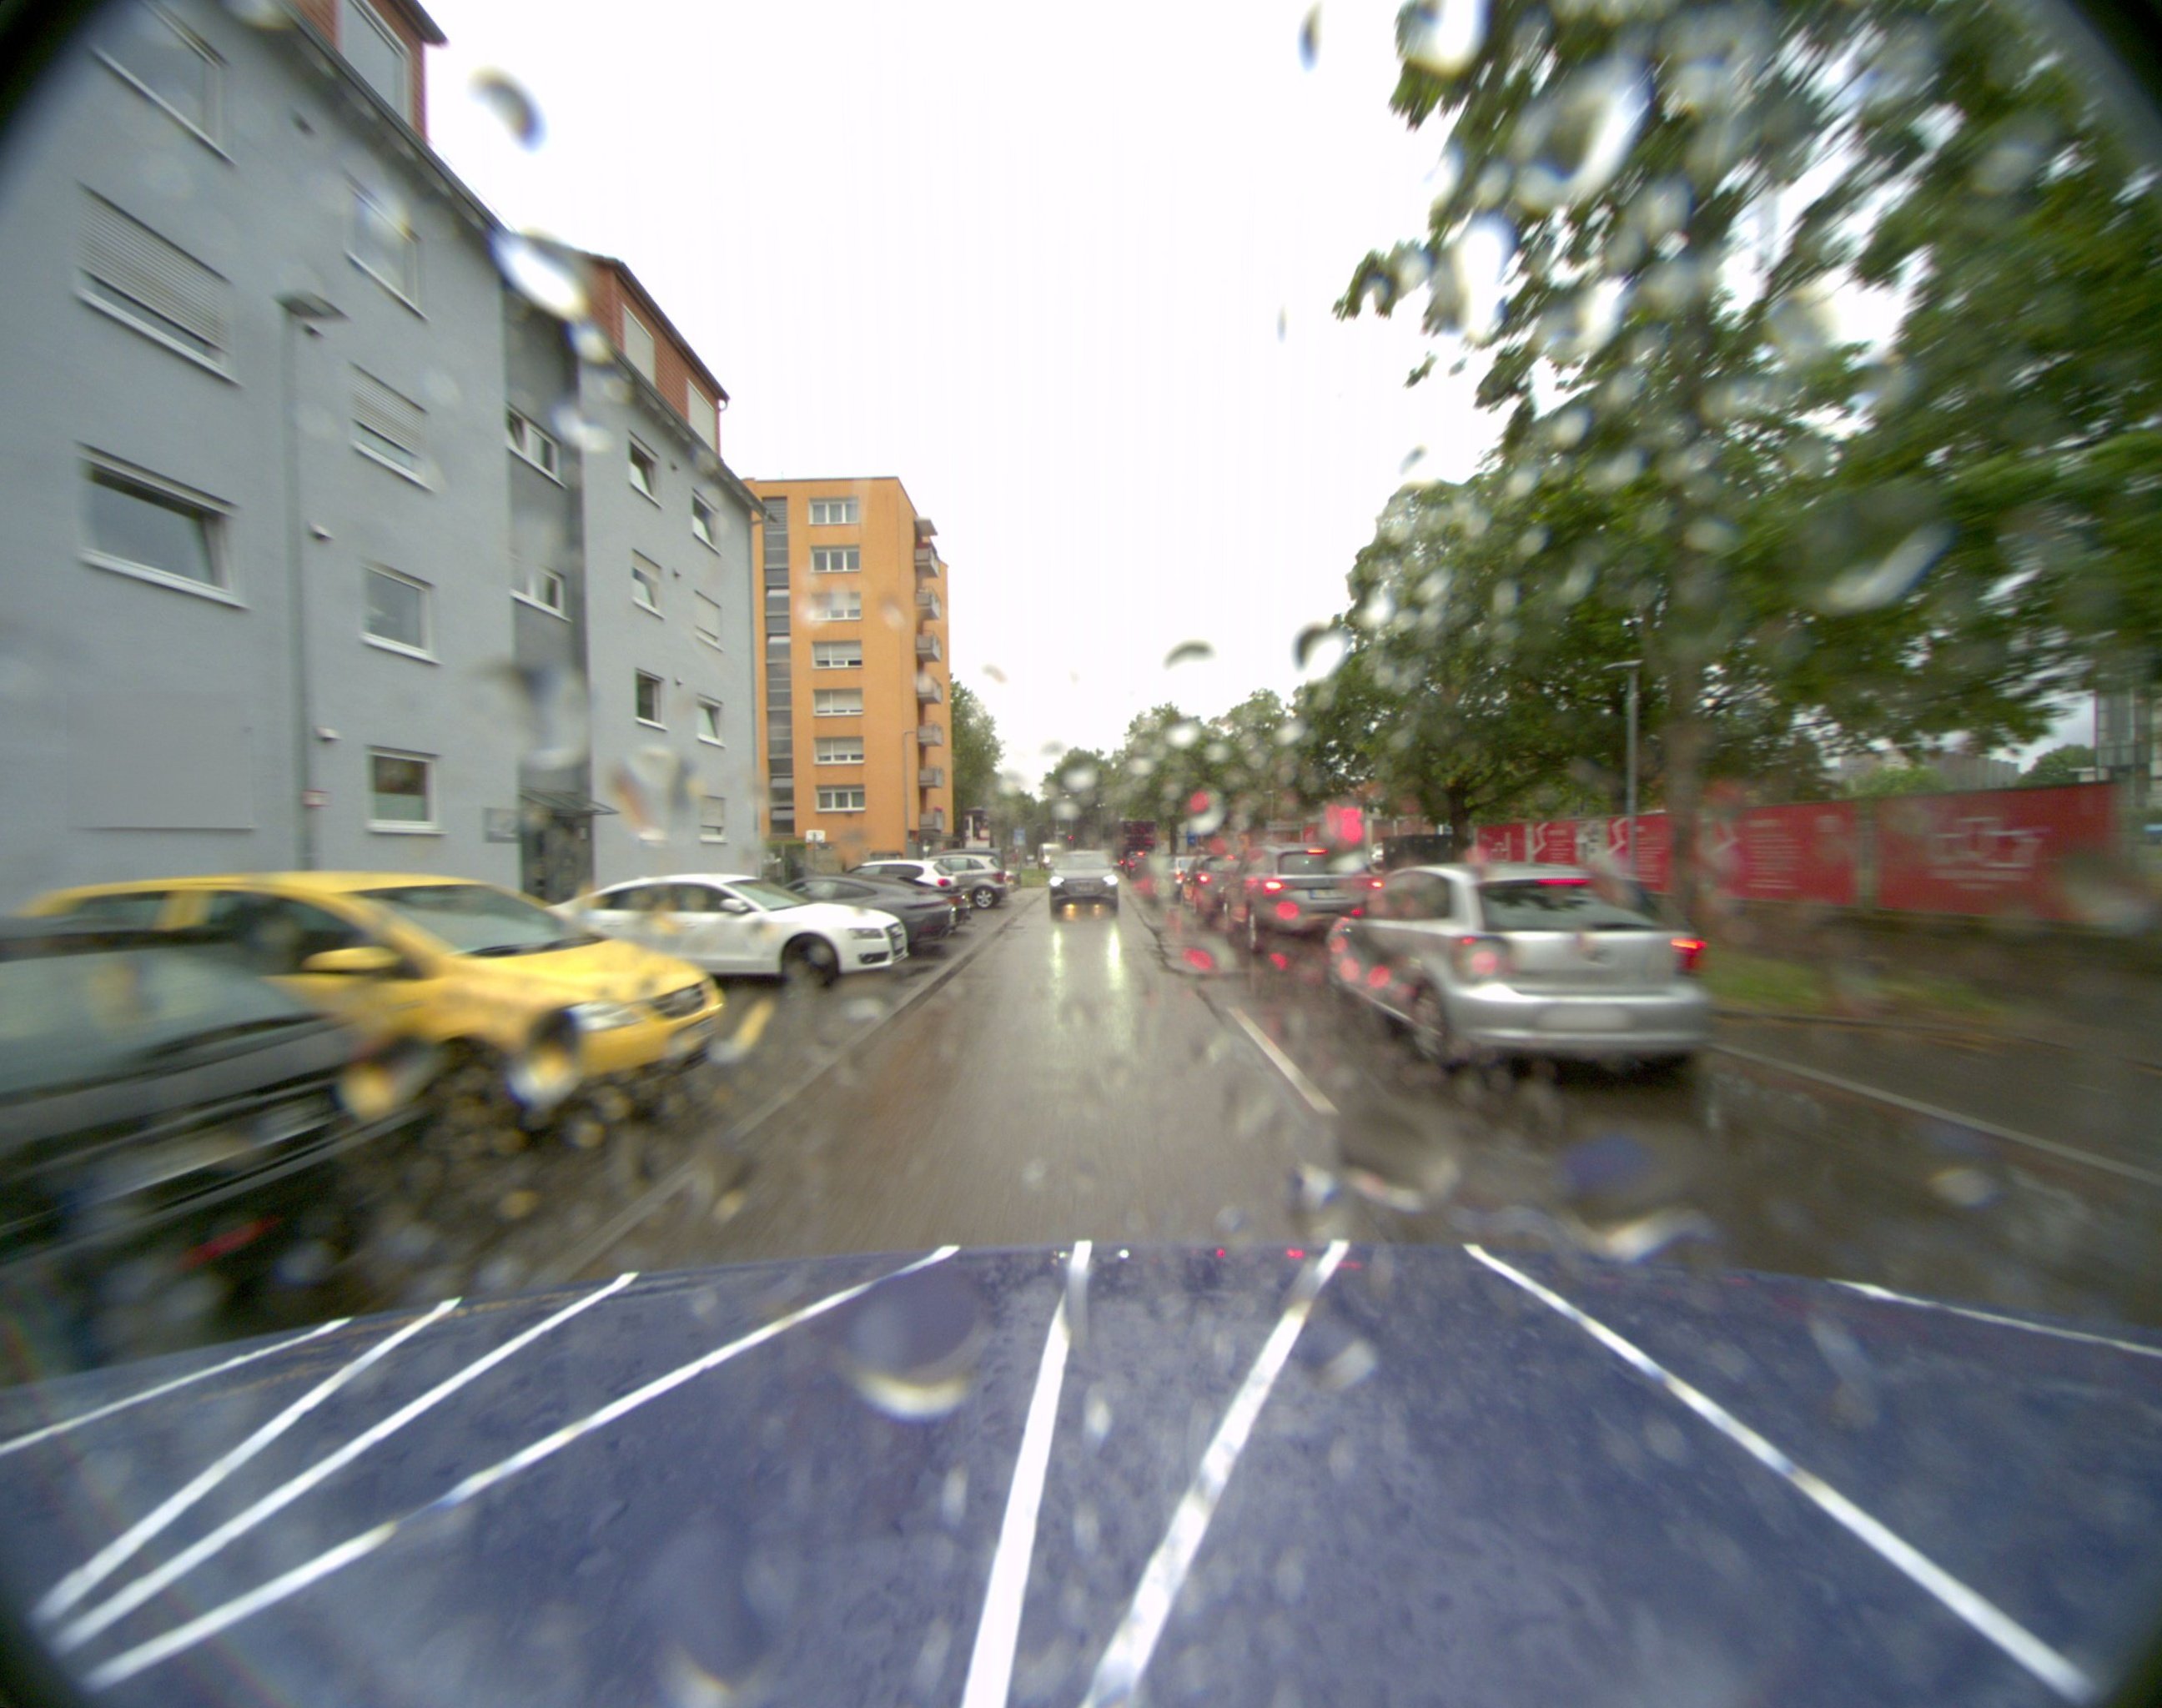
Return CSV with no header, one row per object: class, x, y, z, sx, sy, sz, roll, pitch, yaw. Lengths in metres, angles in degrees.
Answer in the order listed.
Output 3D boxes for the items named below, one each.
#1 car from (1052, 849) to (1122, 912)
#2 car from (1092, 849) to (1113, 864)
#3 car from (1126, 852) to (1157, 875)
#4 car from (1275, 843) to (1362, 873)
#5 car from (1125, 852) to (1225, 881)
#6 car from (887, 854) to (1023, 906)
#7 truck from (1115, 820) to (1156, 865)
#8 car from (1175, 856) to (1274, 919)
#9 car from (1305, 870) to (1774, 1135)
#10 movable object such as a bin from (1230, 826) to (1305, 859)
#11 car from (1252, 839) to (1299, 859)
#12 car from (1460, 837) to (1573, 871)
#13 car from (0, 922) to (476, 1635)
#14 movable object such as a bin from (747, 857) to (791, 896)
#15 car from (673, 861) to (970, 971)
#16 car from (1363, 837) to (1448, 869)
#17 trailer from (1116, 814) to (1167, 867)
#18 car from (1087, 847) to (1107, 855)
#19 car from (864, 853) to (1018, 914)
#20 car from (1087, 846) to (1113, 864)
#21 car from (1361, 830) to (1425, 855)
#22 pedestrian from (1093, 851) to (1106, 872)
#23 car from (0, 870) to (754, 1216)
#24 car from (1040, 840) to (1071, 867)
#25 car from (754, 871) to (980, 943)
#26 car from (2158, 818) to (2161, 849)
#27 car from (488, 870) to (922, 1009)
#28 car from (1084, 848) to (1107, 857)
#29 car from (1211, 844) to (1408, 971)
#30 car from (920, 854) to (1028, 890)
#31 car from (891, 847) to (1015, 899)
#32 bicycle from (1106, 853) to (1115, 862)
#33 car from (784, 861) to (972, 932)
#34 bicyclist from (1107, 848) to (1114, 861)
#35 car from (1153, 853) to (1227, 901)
car,0.216,0.719,22.897,1.809,1.611,4.137,-4,1,1
car,2.026,0.260,73.622,1.703,1.365,4.098,-1,0,-2
car,3.692,0.535,46.646,1.730,1.353,4.338,-1,0,3
car,12.748,0.203,40.746,4.346,1.387,2.008,-3,1,-29
car,5.039,0.676,40.934,4.914,1.445,2.090,-1,0,33
car,-4.125,0.830,25.367,4.200,1.559,1.888,-1,1,-1
truck,5.110,-1.038,72.789,3.459,4.055,6.974,-2,0,1
car,3.510,0.768,19.351,1.783,1.412,4.265,-1,0,1
car,3.234,0.904,6.471,1.676,1.375,4.253,-1,0,4
movable object such as a bin,17.676,-1.080,72.434,6.767,2.913,2.777,-2,0,11
car,17.754,-0.437,69.540,3.994,1.591,2.002,-2,-1,9
car,20.386,0.023,35.722,1.792,1.500,4.290,-1,0,-29
car,-4.386,1.063,2.058,3.997,1.434,1.781,-2,1,0
movable object such as a bin,-11.610,0.832,28.300,1.237,1.369,0.823,-1,0,8
car,-4.093,0.960,12.554,4.154,1.477,2.012,-2,1,1
car,18.844,-0.060,44.076,4.655,1.697,2.041,-2,1,-29
trailer,4.965,-1.035,65.791,3.451,4.025,15.050,-1,0,1
car,4.089,-0.794,190.702,5.085,2.012,2.034,-1,0,2
car,-4.087,0.842,22.753,4.192,1.563,1.890,-2,1,0
car,1.977,0.175,80.306,2.080,1.672,4.928,-4,-1,-5
car,26.316,-0.924,64.170,2.003,2.002,4.665,-2,0,-34
pedestrian,1.548,0.629,64.804,0.870,1.833,0.993,-1,1,14
car,-4.441,0.970,4.667,3.997,1.543,1.852,-2,1,-1
car,-2.586,-0.068,75.572,2.284,2.547,6.506,-2,0,-8
car,-4.110,1.008,15.097,3.863,1.200,1.956,-2,1,3
car,57.013,-1.117,37.714,2.003,1.604,3.991,-1,-1,-32
car,-4.664,1.039,9.944,4.638,1.428,2.000,-2,1,3
car,2.888,-0.343,153.035,4.668,1.863,2.034,-1,0,2
car,3.452,0.688,12.505,1.919,1.630,4.821,-2,1,2
car,-4.771,0.795,34.375,4.544,1.462,1.983,-1,1,1
car,-4.625,0.649,27.923,4.243,1.795,1.944,-1,1,-2
bicycle,3.336,0.382,85.617,0.533,1.018,1.872,-1,0,-12
car,-4.625,0.943,17.765,3.864,1.446,1.836,-2,1,-1
bicyclist,3.332,0.059,85.653,0.581,1.452,1.010,-1,1,-12
car,3.686,0.731,26.429,1.779,1.395,4.829,-2,1,-1
